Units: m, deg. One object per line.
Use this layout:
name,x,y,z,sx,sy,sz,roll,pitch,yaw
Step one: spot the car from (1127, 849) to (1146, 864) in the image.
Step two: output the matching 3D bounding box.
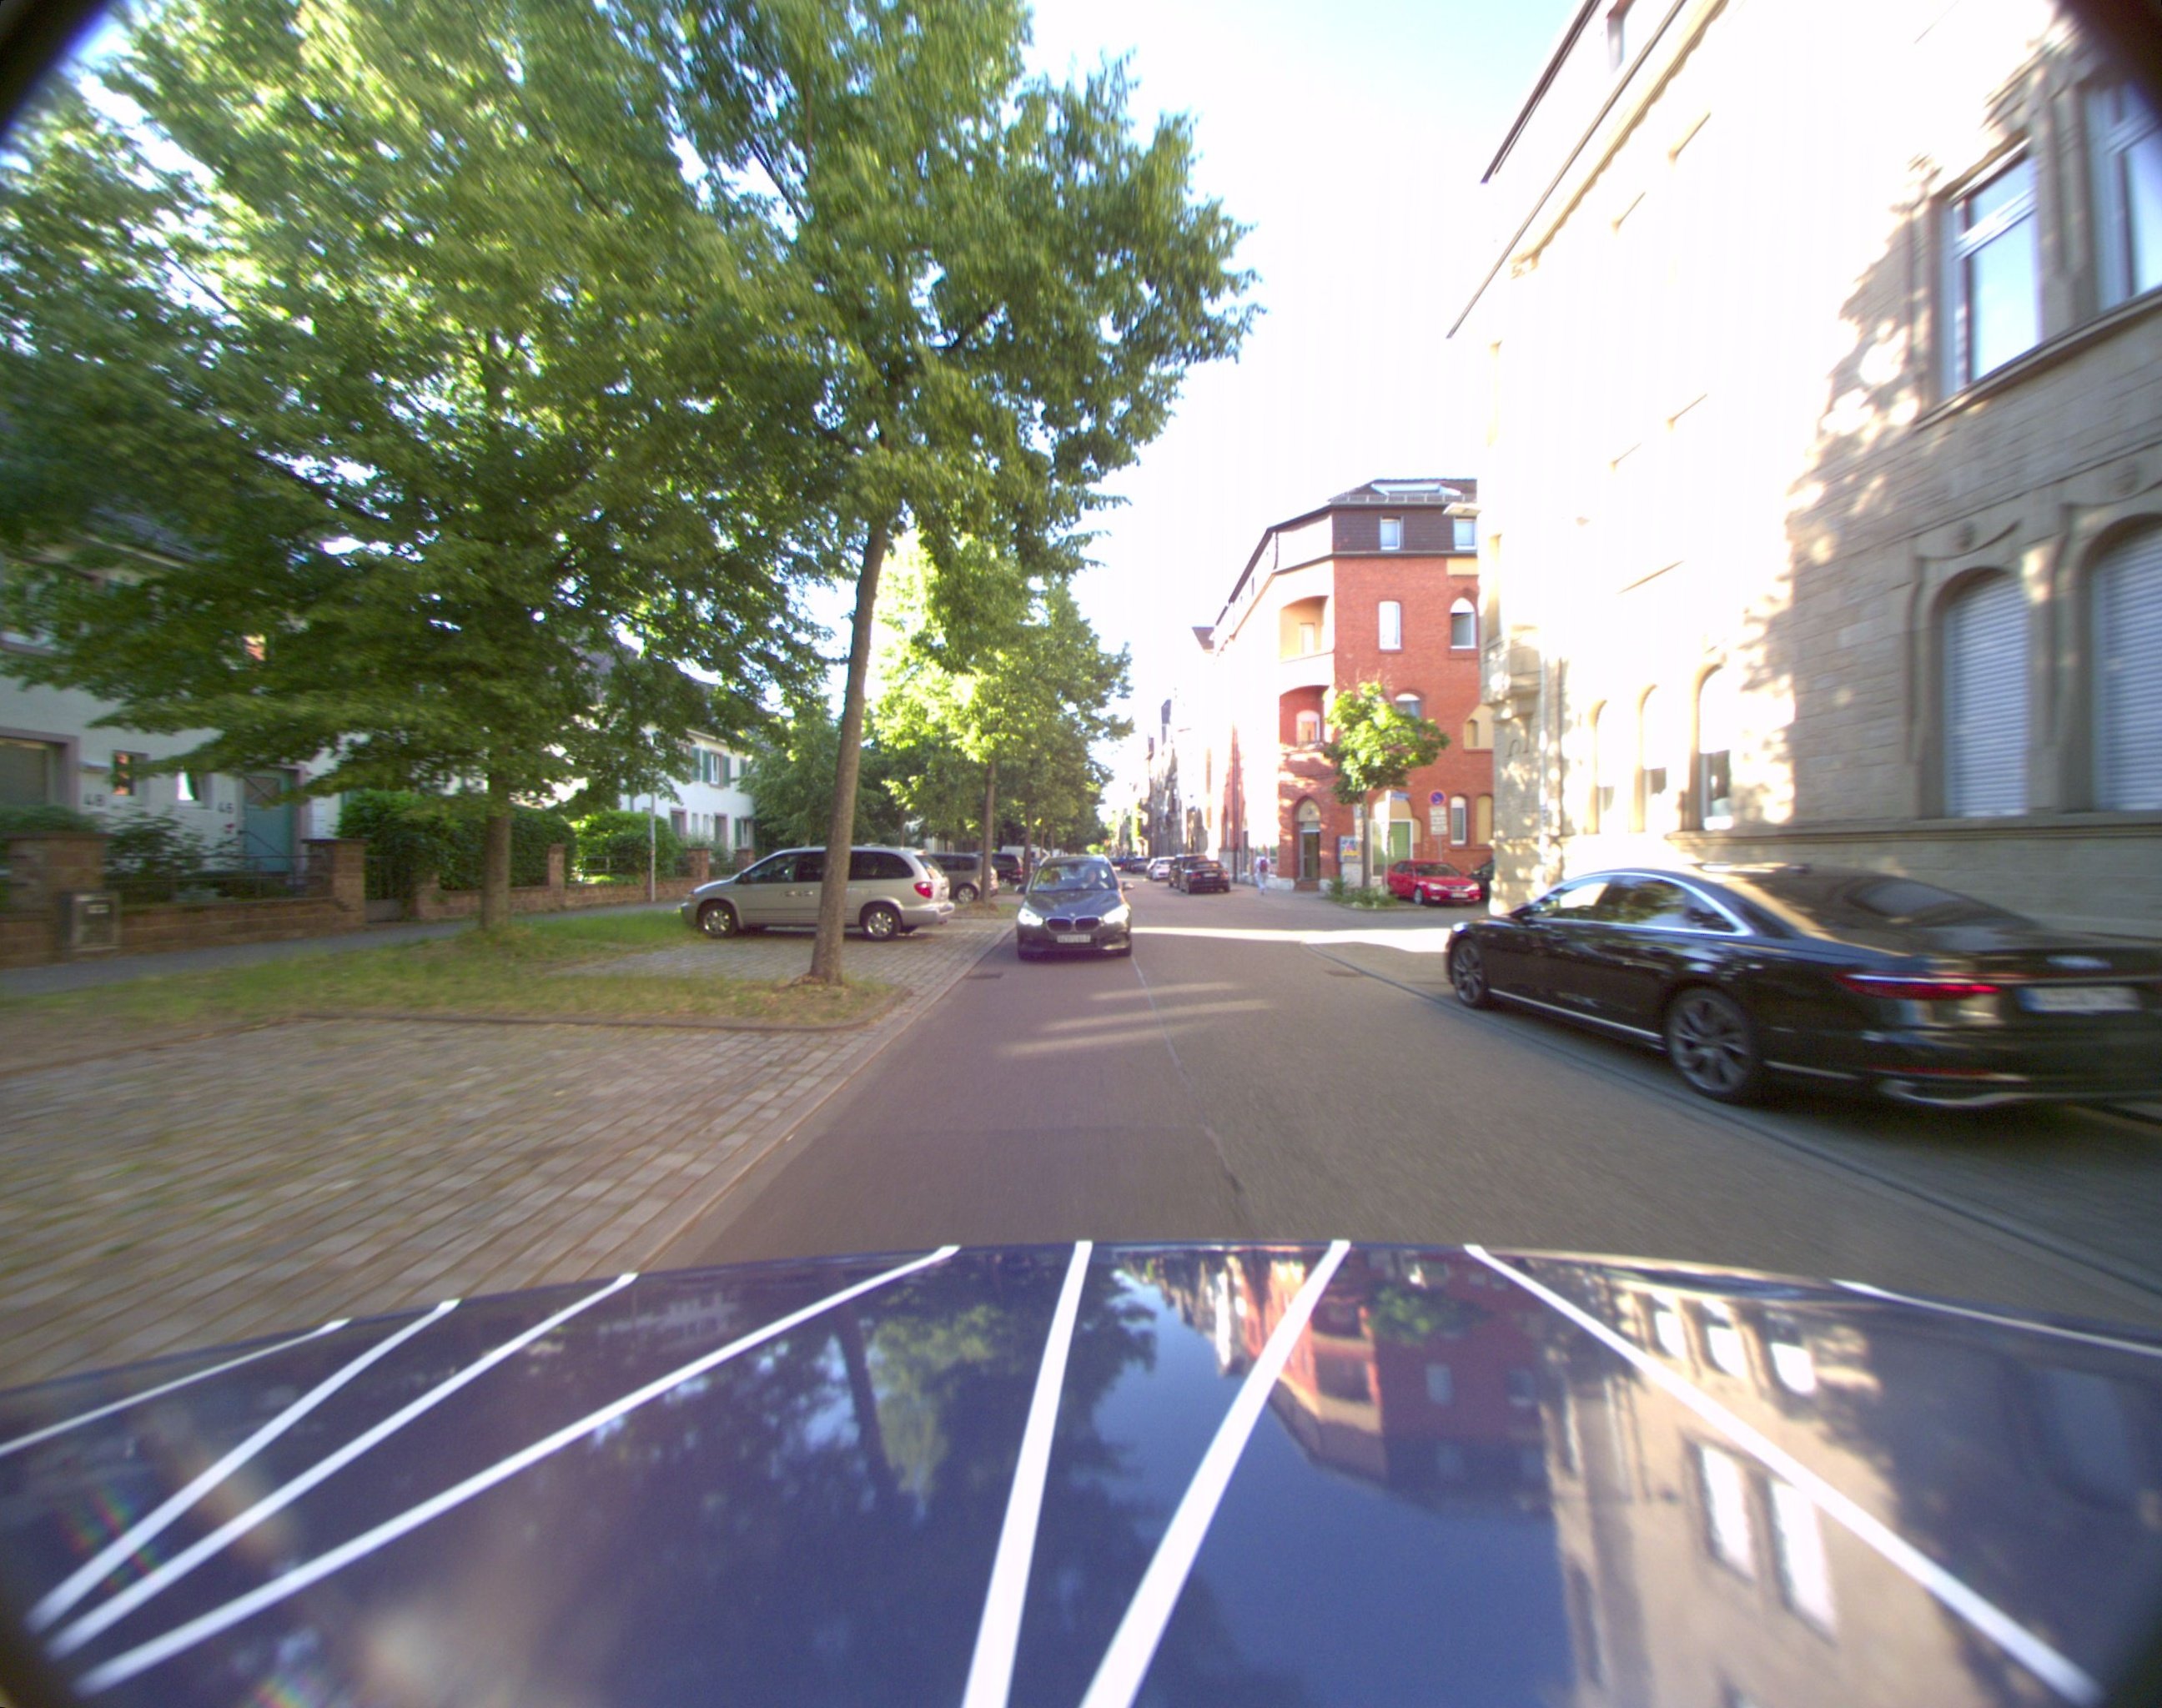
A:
car,5.845,0.233,80.584,1.774,1.493,4.211,0,2,0

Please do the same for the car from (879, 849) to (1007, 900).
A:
car,-5.025,0.717,27.954,4.282,1.624,1.691,3,1,4

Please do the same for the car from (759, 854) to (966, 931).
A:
car,-4.797,0.828,17.073,4.077,1.468,1.694,3,0,2

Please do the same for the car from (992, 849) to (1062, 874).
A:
car,-3.832,0.533,54.356,4.850,1.530,1.894,3,1,-1

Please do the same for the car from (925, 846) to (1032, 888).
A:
car,-4.700,0.582,35.335,4.592,1.667,1.907,3,1,3

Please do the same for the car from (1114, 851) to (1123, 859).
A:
car,7.651,0.176,153.854,1.710,1.496,3.629,-4,-1,2

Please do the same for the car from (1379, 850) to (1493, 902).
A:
car,11.551,0.650,25.102,1.640,1.460,4.657,-1,1,1

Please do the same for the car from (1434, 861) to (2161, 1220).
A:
car,4.774,0.863,5.851,1.816,1.418,4.897,-3,1,0

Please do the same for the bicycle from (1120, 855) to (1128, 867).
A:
bicycle,4.198,0.637,74.138,0.759,1.101,1.907,0,1,1

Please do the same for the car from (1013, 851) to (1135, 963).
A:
car,-0.054,0.799,13.656,1.753,1.596,4.550,-3,0,1

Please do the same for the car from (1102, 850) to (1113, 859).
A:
car,4.610,0.083,132.243,1.631,1.469,3.759,1,0,-1

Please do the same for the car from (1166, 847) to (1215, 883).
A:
car,5.386,0.491,37.864,1.673,1.671,4.349,-1,1,-1

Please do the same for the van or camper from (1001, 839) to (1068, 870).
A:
van or camper,-4.093,0.058,68.075,5.733,2.502,2.162,3,1,0

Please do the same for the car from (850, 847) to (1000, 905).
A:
car,-5.002,0.682,24.820,4.552,1.624,1.811,3,1,-5

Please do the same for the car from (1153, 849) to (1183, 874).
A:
car,5.434,0.473,47.751,1.570,1.462,3.592,-1,0,3

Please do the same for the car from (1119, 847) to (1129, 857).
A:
car,7.449,-0.295,131.792,1.686,1.496,3.629,-4,-1,2

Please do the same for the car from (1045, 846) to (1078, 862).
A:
car,-3.266,-0.038,128.732,5.448,2.646,2.134,0,0,1

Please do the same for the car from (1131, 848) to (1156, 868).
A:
car,5.626,0.355,68.815,1.881,1.707,4.339,-1,0,1

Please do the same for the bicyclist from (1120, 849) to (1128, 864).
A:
bicyclist,4.194,0.282,74.069,0.761,1.445,0.948,0,1,0

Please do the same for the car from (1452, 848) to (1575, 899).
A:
car,14.116,0.589,25.096,1.717,1.541,4.212,0,0,1

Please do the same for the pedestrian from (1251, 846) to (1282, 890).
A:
pedestrian,7.038,0.515,28.859,0.890,1.568,1.053,-1,2,1

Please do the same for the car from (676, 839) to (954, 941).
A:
car,-4.935,0.643,14.516,4.630,1.700,1.833,2,1,2

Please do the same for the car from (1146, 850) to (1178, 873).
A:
car,5.563,0.495,52.616,1.681,1.434,4.111,-2,0,0

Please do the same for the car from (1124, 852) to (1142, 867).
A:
car,5.958,0.594,87.152,1.774,1.658,4.212,-1,1,0

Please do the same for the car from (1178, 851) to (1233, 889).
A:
car,5.234,0.641,32.353,1.640,1.402,4.333,-3,1,1

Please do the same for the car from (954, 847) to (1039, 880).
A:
car,-4.713,0.499,42.690,4.487,1.624,1.875,3,1,0
